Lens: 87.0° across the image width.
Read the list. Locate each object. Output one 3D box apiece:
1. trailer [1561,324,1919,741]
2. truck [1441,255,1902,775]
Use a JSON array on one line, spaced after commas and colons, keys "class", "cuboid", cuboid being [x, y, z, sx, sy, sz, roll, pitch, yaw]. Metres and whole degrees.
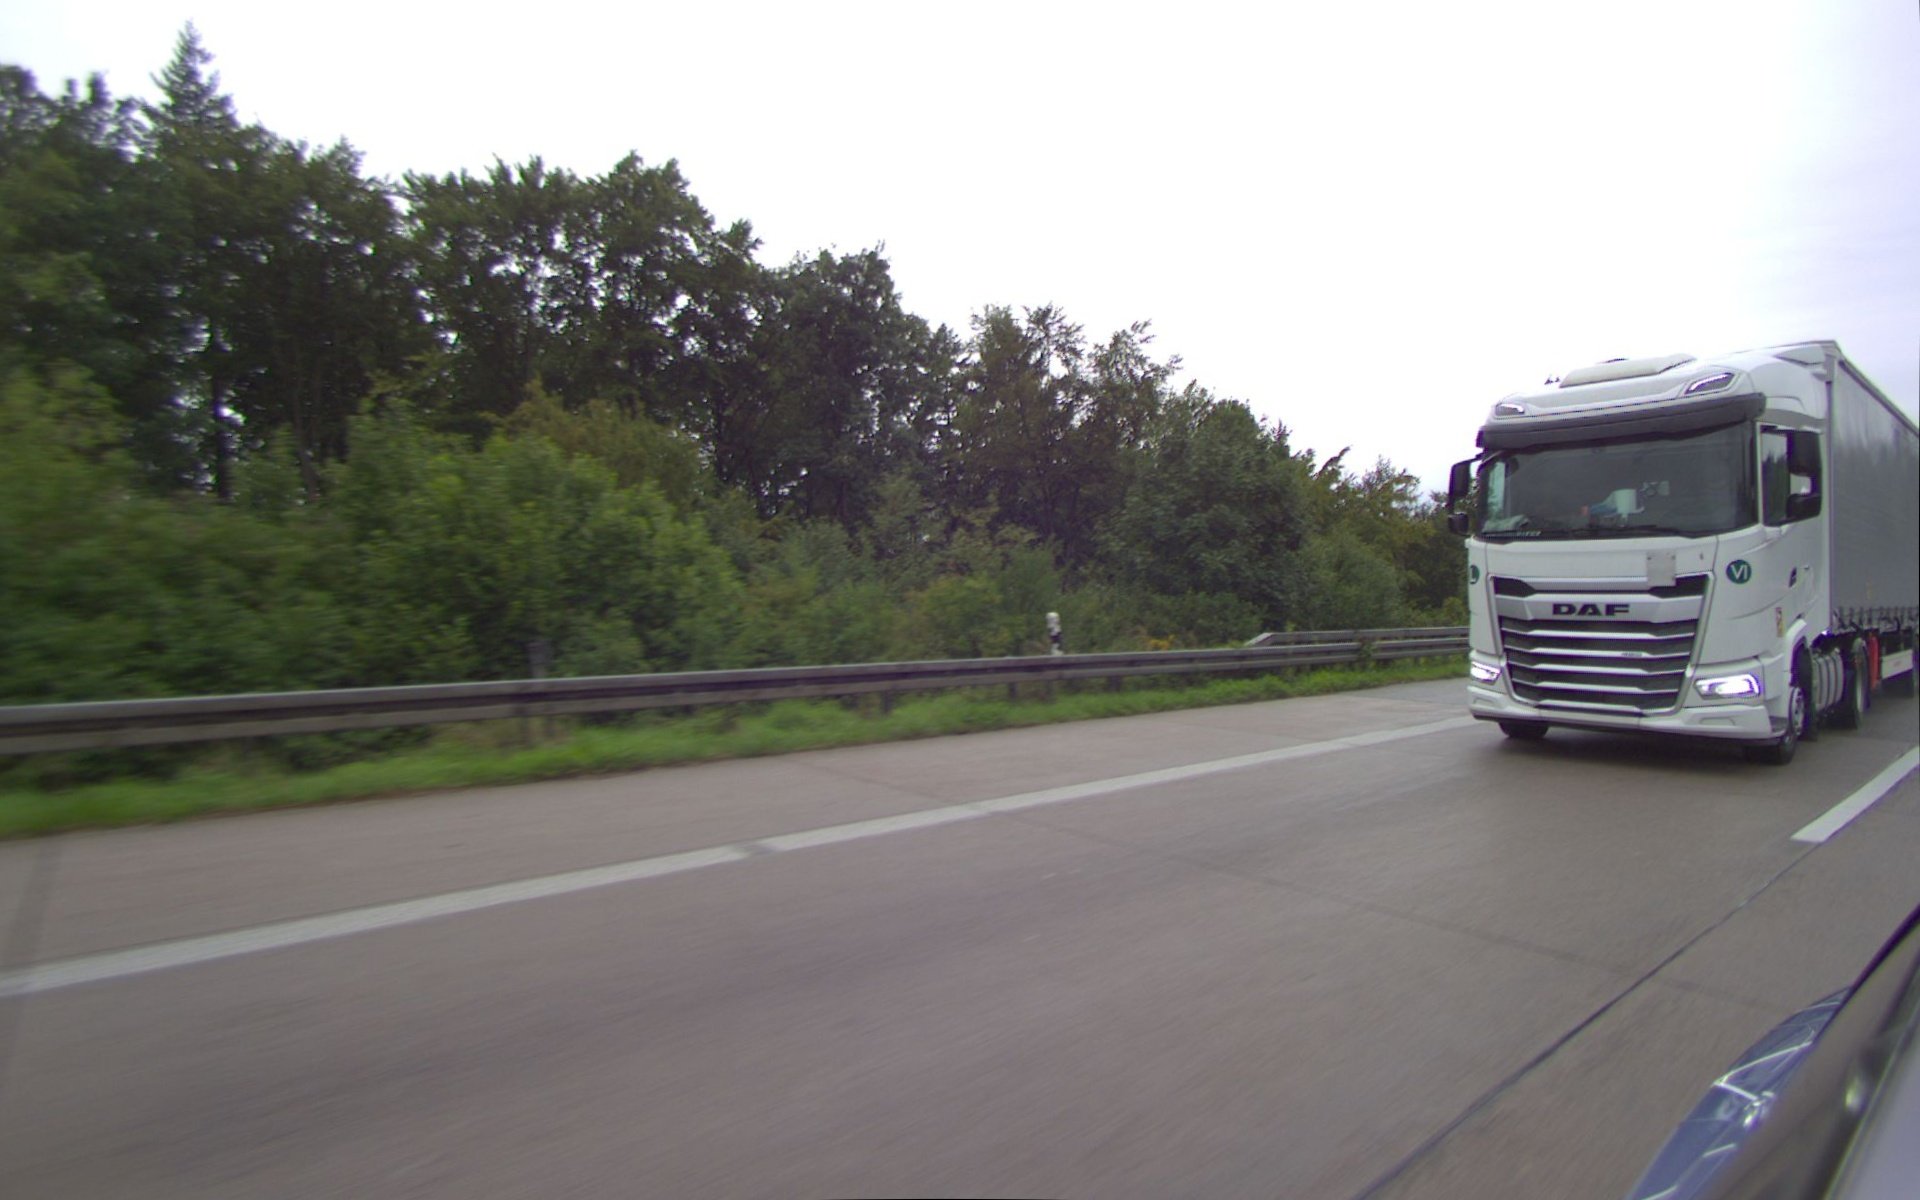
[{"class": "trailer", "cuboid": [13.116, -0.745, 15.377, 13.465, 4.091, 2.685, 0, 2, -41]}, {"class": "truck", "cuboid": [7.819, -0.716, 10.863, 5.652, 4.091, 2.726, 0, 1, -41]}]
